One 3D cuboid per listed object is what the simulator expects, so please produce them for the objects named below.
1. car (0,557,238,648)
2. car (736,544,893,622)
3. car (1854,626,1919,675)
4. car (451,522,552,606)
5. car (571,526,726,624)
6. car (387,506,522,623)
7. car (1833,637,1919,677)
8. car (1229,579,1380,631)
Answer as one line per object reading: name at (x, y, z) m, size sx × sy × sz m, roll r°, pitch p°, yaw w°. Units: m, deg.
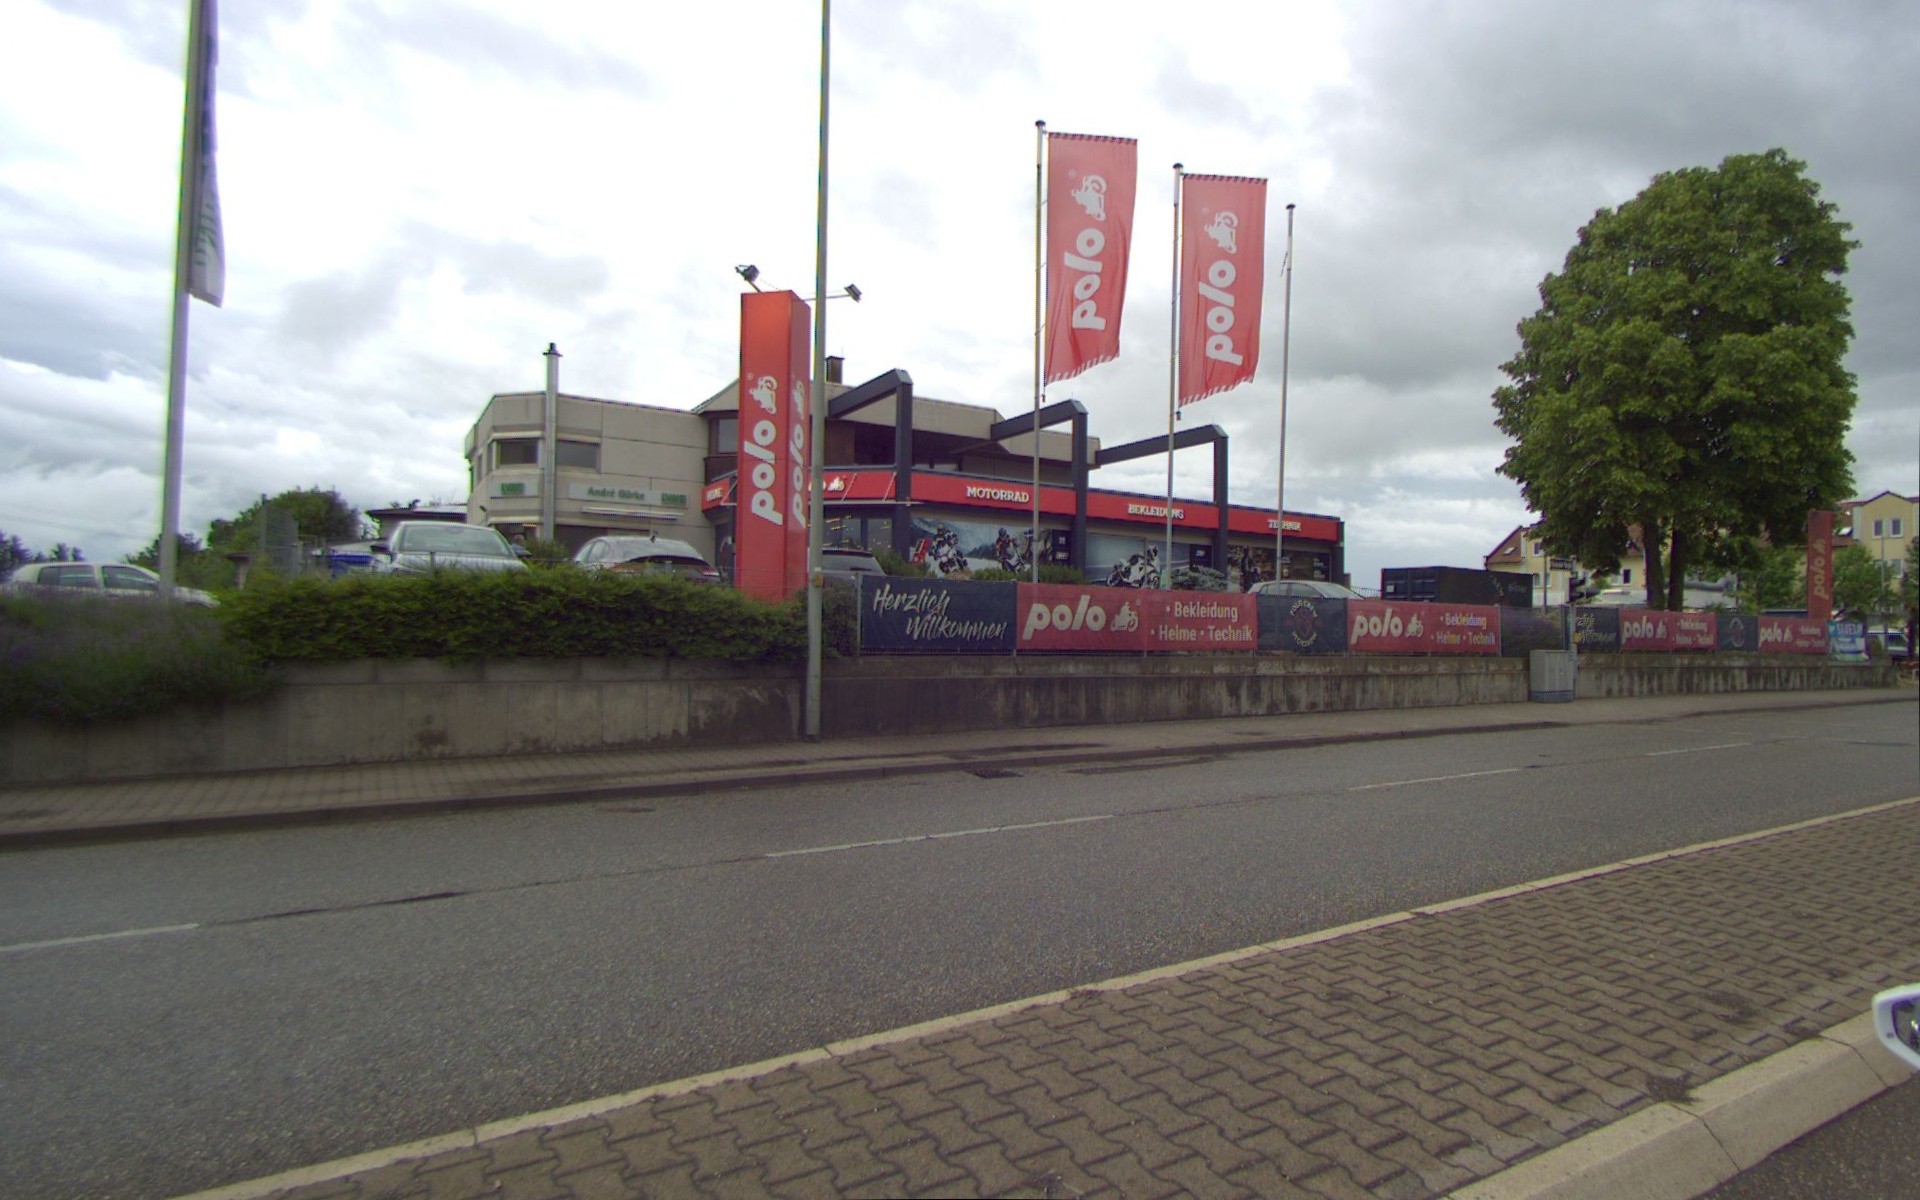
car at (-16.176, 0.084, 19.489) m, size 3.346 × 1.617 × 1.520 m, roll 1°, pitch -1°, yaw -30°
car at (-2.558, -0.214, 17.106) m, size 1.438 × 1.183 × 3.368 m, roll 1°, pitch -2°, yaw -32°
car at (40.960, 2.147, 42.506) m, size 4.324 × 2.040 × 1.996 m, roll -2°, pitch -3°, yaw 32°
car at (-9.300, -0.650, 20.253) m, size 1.438 × 1.492 × 3.368 m, roll 1°, pitch -2°, yaw -32°
car at (-4.767, -0.292, 15.121) m, size 1.438 × 1.294 × 3.368 m, roll 1°, pitch -2°, yaw -32°
car at (-6.838, -0.372, 13.515) m, size 1.436 × 1.355 × 3.372 m, roll 1°, pitch -2°, yaw -29°
car at (42.524, 2.552, 44.918) m, size 4.927 × 1.724 × 1.996 m, roll -2°, pitch -6°, yaw 32°
car at (8.351, 0.160, 24.582) m, size 1.438 × 1.183 × 3.368 m, roll 1°, pitch -2°, yaw -32°
